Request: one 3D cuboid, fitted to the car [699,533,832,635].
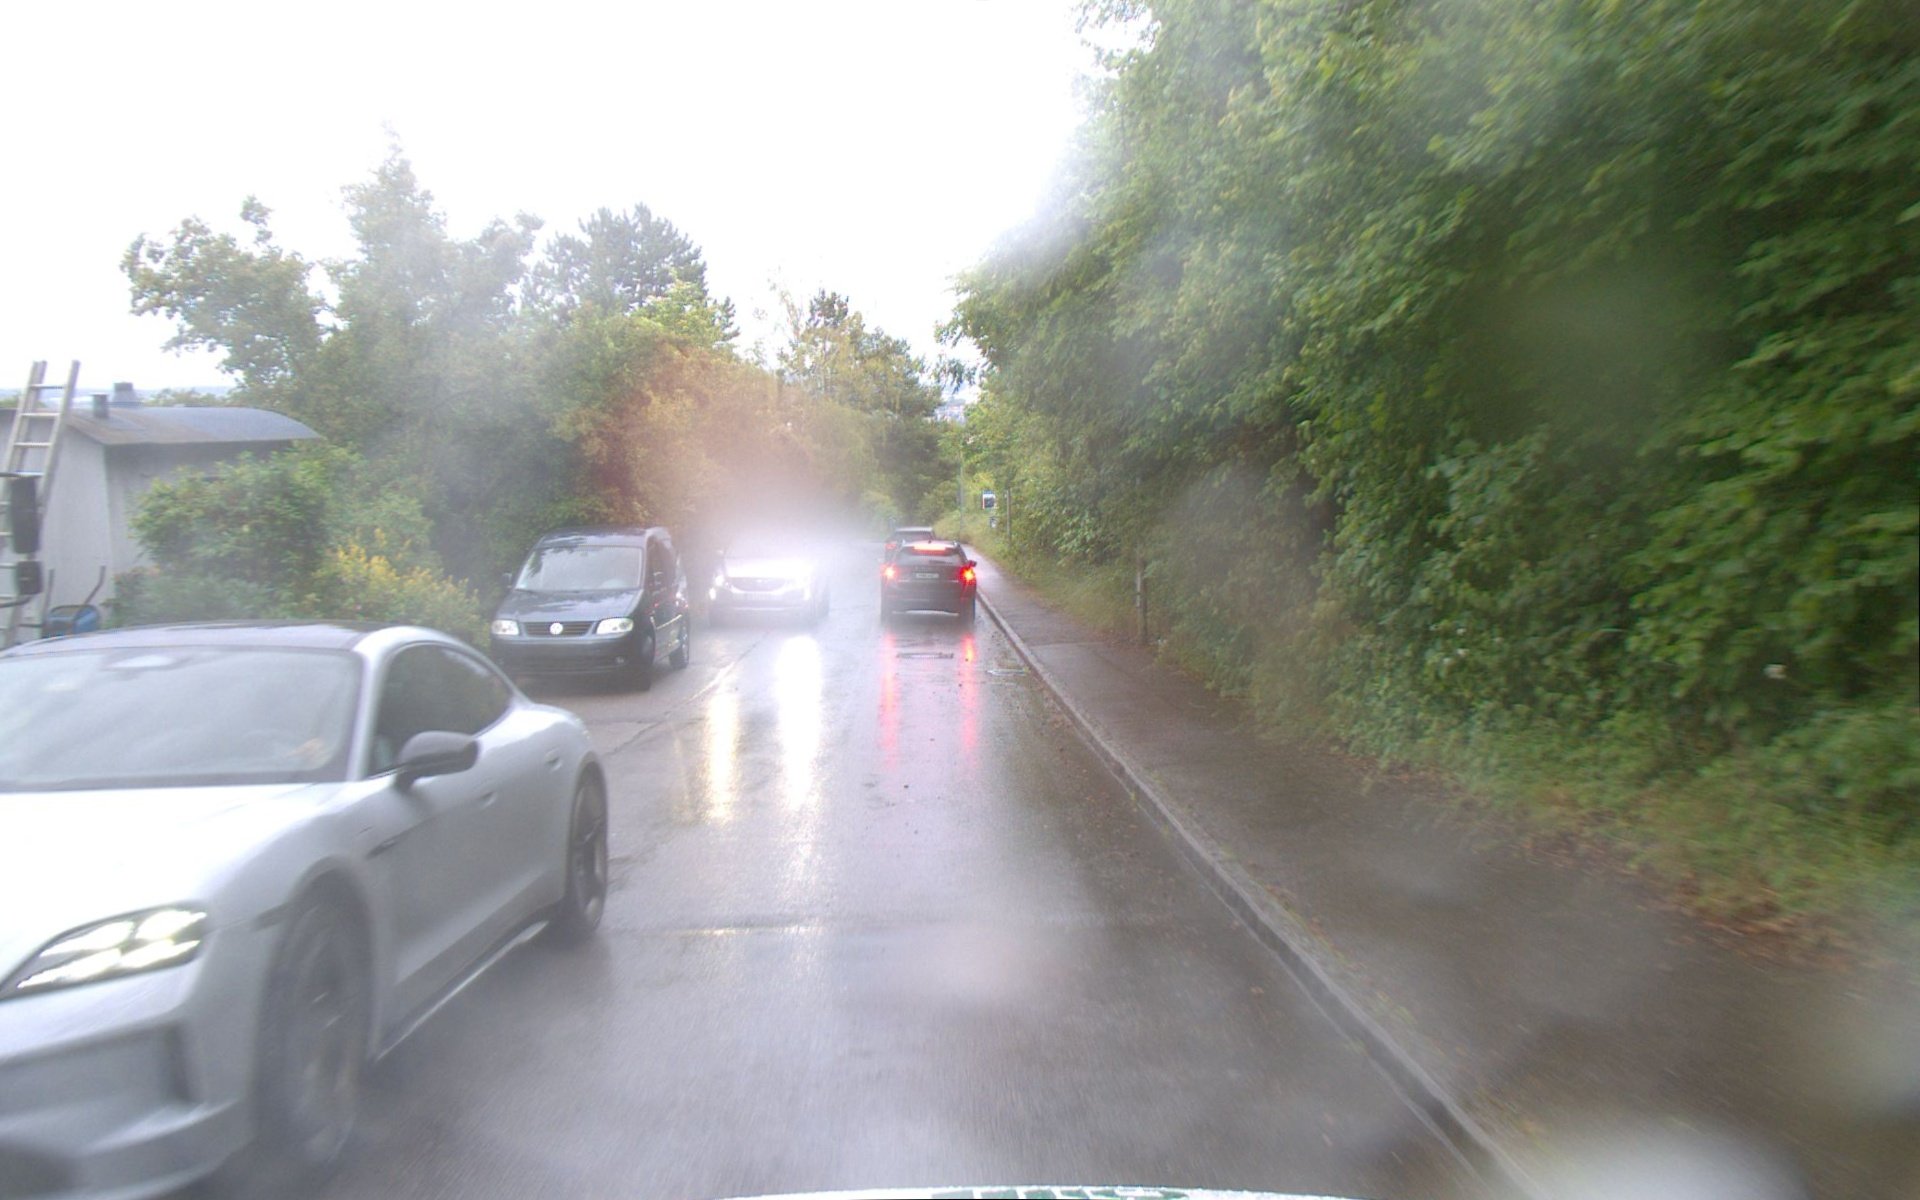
[{"bbox_3d":[-3.413,-0.355,29.814,2.007,1.628,4.228,2,2,-2],"label":"car"}]

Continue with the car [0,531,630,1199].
[{"bbox_3d":[-2.517,0.771,5.452,1.901,1.549,4.578,-1,-3,0],"label":"car"}]

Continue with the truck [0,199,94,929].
[{"bbox_3d":[-8.560,-0.507,10.939,2.654,3.875,8.002,3,2,-45],"label":"truck"}]

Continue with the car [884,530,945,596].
[{"bbox_3d":[-1.459,-1.127,52.060,1.825,1.774,3.997,1,-3,-2],"label":"car"}]

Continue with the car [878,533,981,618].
[{"bbox_3d":[-0.622,-0.479,30.960,1.666,1.475,3.997,-1,1,-5],"label":"car"}]

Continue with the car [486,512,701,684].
[{"bbox_3d":[-4.241,-0.087,19.753,1.655,1.813,4.232,-1,2,-1],"label":"car"}]
